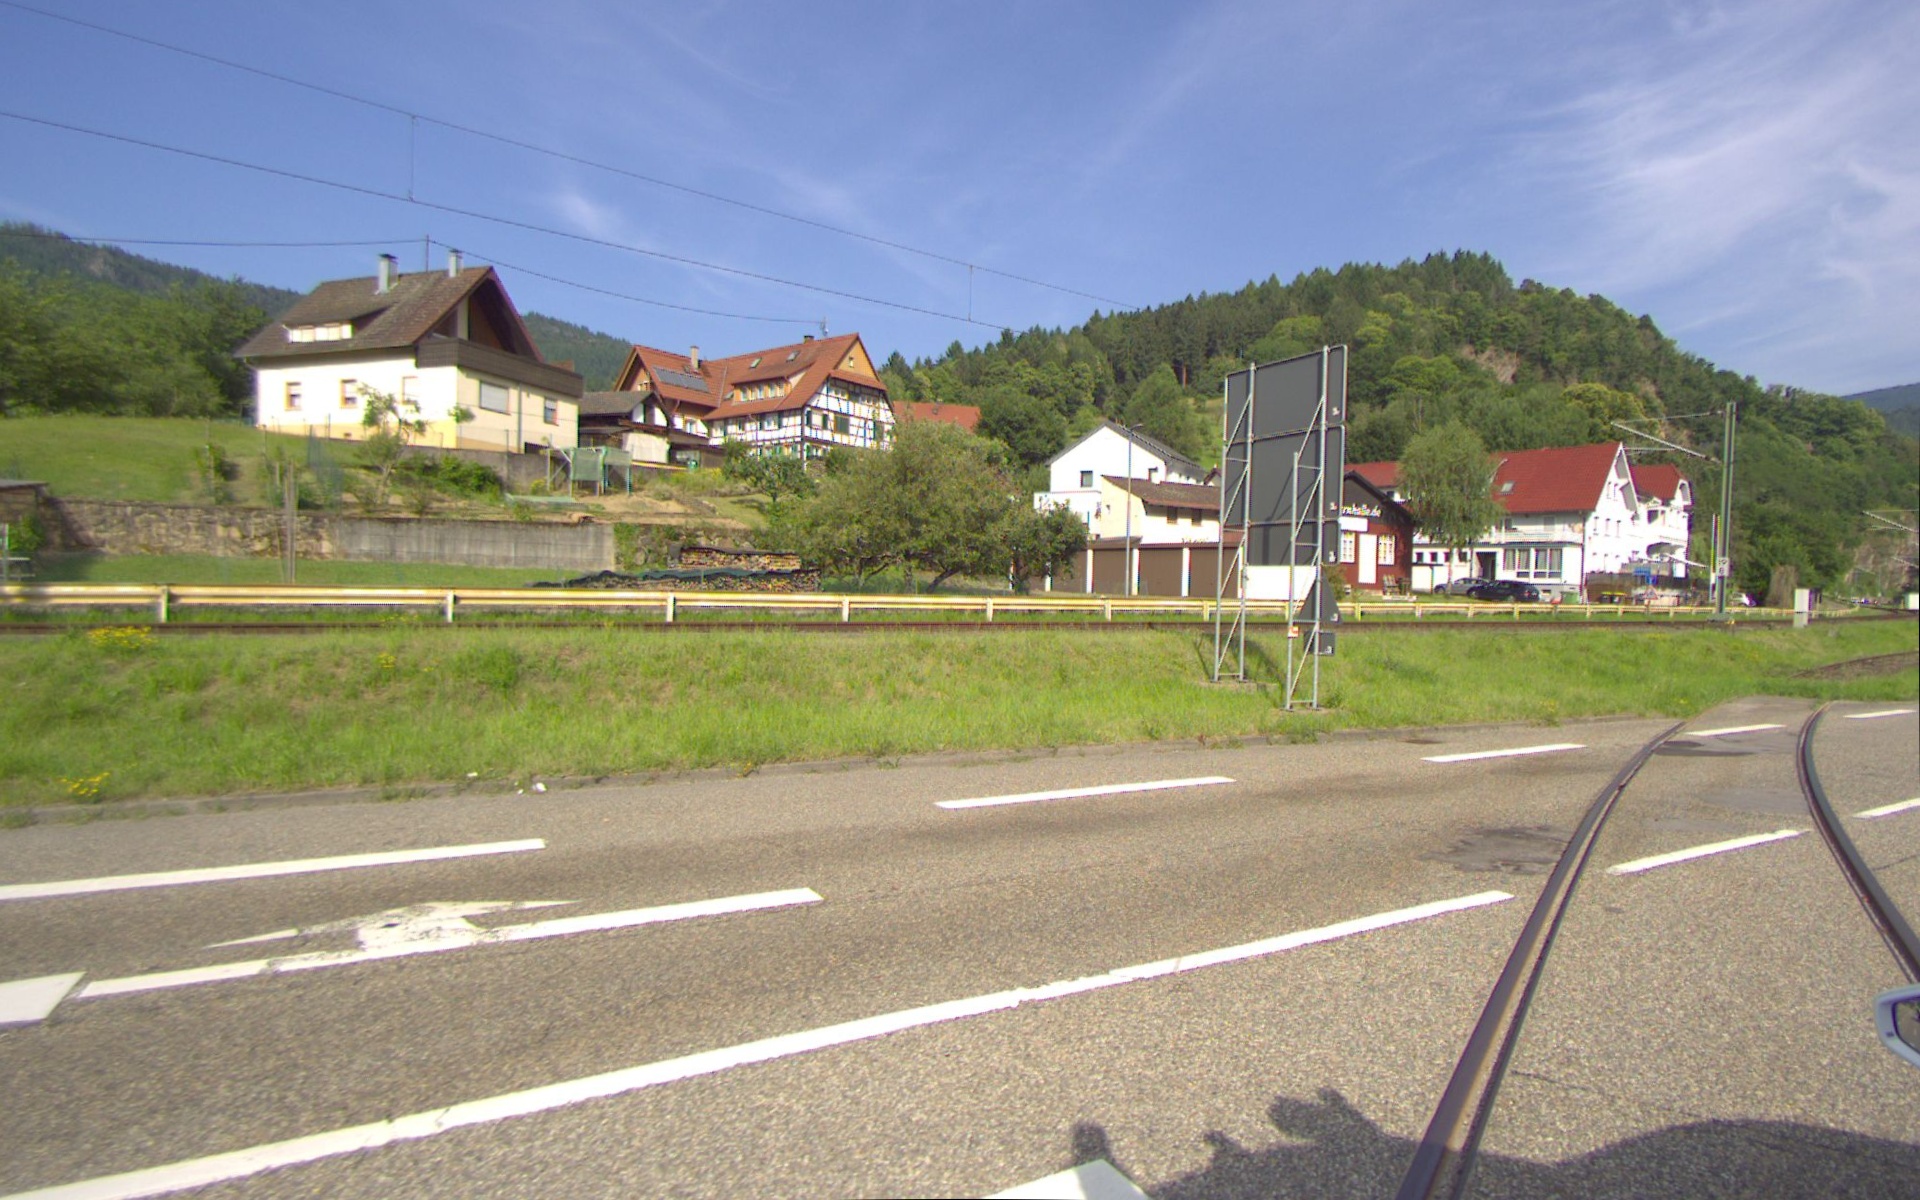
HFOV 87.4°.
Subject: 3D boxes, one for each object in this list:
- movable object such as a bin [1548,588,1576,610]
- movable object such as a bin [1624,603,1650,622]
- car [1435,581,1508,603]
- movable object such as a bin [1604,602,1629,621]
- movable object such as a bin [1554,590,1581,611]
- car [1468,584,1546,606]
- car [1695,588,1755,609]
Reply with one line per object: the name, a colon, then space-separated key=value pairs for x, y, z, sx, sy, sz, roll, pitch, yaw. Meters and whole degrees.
movable object such as a bin: x=34.909 y=-0.066 z=58.284 sx=1.128 sy=1.208 sz=1.086 roll=4 pitch=2 yaw=45
movable object such as a bin: x=44.679 y=0.831 z=66.271 sx=1.134 sy=1.208 sz=1.080 roll=1 pitch=2 yaw=-40
car: x=35.534 y=-0.557 z=69.864 sx=1.740 sy=1.347 sz=4.219 roll=1 pitch=2 yaw=-38
movable object such as a bin: x=43.879 y=0.759 z=67.106 sx=1.134 sy=1.208 sz=1.080 roll=1 pitch=2 yaw=-40
movable object such as a bin: x=35.773 y=0.036 z=59.151 sx=1.128 sy=1.208 sz=1.086 roll=4 pitch=2 yaw=45
car: x=35.494 y=-0.354 z=65.262 sx=1.721 sy=1.287 sz=4.063 roll=1 pitch=2 yaw=-37
car: x=71.580 y=-0.150 z=94.027 sx=1.984 sy=1.714 sz=4.110 roll=1 pitch=1 yaw=-40
